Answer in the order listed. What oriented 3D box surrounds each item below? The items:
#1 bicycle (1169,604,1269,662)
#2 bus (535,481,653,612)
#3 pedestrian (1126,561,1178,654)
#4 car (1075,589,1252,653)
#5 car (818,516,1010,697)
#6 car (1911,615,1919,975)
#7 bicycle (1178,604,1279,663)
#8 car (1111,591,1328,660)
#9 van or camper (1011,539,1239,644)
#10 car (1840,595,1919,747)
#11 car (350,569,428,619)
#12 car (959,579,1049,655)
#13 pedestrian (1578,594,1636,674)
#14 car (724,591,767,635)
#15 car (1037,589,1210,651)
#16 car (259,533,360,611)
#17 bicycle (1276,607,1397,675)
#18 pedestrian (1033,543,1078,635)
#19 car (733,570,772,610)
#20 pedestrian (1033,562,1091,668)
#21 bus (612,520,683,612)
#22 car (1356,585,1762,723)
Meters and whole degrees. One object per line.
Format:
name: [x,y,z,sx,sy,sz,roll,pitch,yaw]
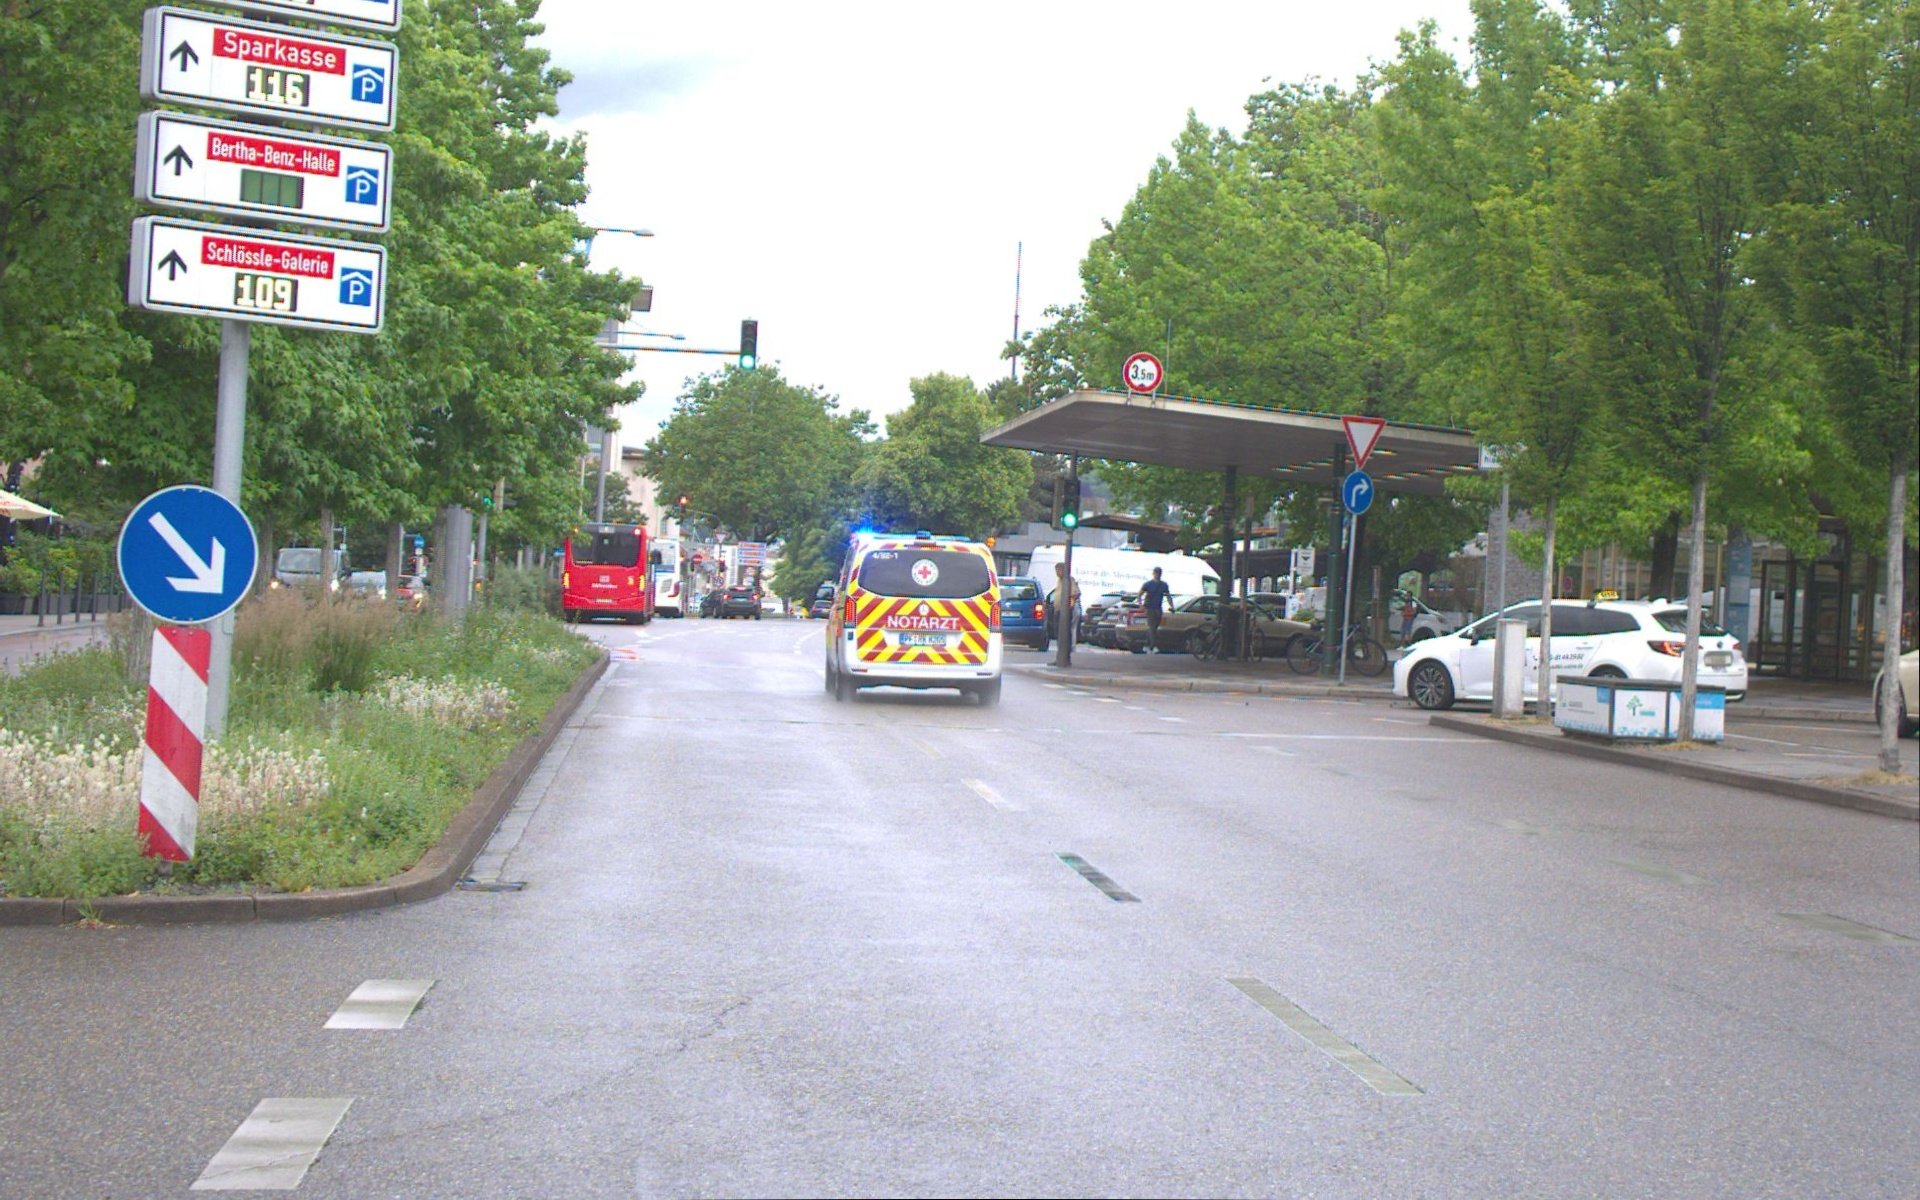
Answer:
bicycle: [4.735,0.602,62.843,1.827,1.052,0.420,1,0,-22]
bus: [-11.907,-1.643,111.172,3.544,3.966,11.173,1,0,-7]
pedestrian: [3.830,0.154,68.602,0.856,1.829,1.190,1,-1,-4]
car: [5.060,0.522,85.470,3.986,1.438,1.865,2,-1,-30]
car: [-0.612,0.073,40.940,1.993,2.007,5.062,1,0,-4]
car: [5.090,0.804,11.942,1.694,1.460,4.453,1,0,-10]
bicycle: [4.879,0.603,62.404,1.827,1.052,0.420,1,0,-22]
car: [5.528,0.536,73.260,4.184,1.321,1.840,2,-1,-24]
van or camper: [4.514,-0.211,93.704,5.946,2.753,2.199,1,0,-31]
car: [11.266,0.778,35.922,1.993,1.594,4.960,1,1,-12]
car: [-18.119,-0.197,109.166,1.993,1.538,4.633,1,0,-4]
car: [0.944,0.381,76.080,1.858,1.564,4.000,2,-1,0]
pedestrian: [12.754,0.668,67.815,0.865,1.553,0.814,1,0,-11]
car: [-10.175,0.608,163.180,1.993,2.007,4.000,1,0,-4]
car: [4.164,0.509,87.615,3.986,1.438,1.865,2,-1,-30]
car: [-17.504,-0.737,92.711,1.993,2.007,5.001,1,0,-3]
bicycle: [5.904,0.641,53.909,1.827,1.052,0.420,1,0,-4]
pedestrian: [2.106,-0.242,76.173,0.831,2.007,0.889,1,0,-8]
car: [-10.803,-0.527,178.681,1.993,2.007,4.000,1,0,-4]
pedestrian: [1.708,0.250,57.517,0.746,1.741,0.836,1,-1,-12]
bus: [-13.107,-1.379,143.707,2.805,3.734,10.447,0,0,-6]
car: [7.300,0.641,42.276,1.759,1.540,4.774,2,0,-43]
